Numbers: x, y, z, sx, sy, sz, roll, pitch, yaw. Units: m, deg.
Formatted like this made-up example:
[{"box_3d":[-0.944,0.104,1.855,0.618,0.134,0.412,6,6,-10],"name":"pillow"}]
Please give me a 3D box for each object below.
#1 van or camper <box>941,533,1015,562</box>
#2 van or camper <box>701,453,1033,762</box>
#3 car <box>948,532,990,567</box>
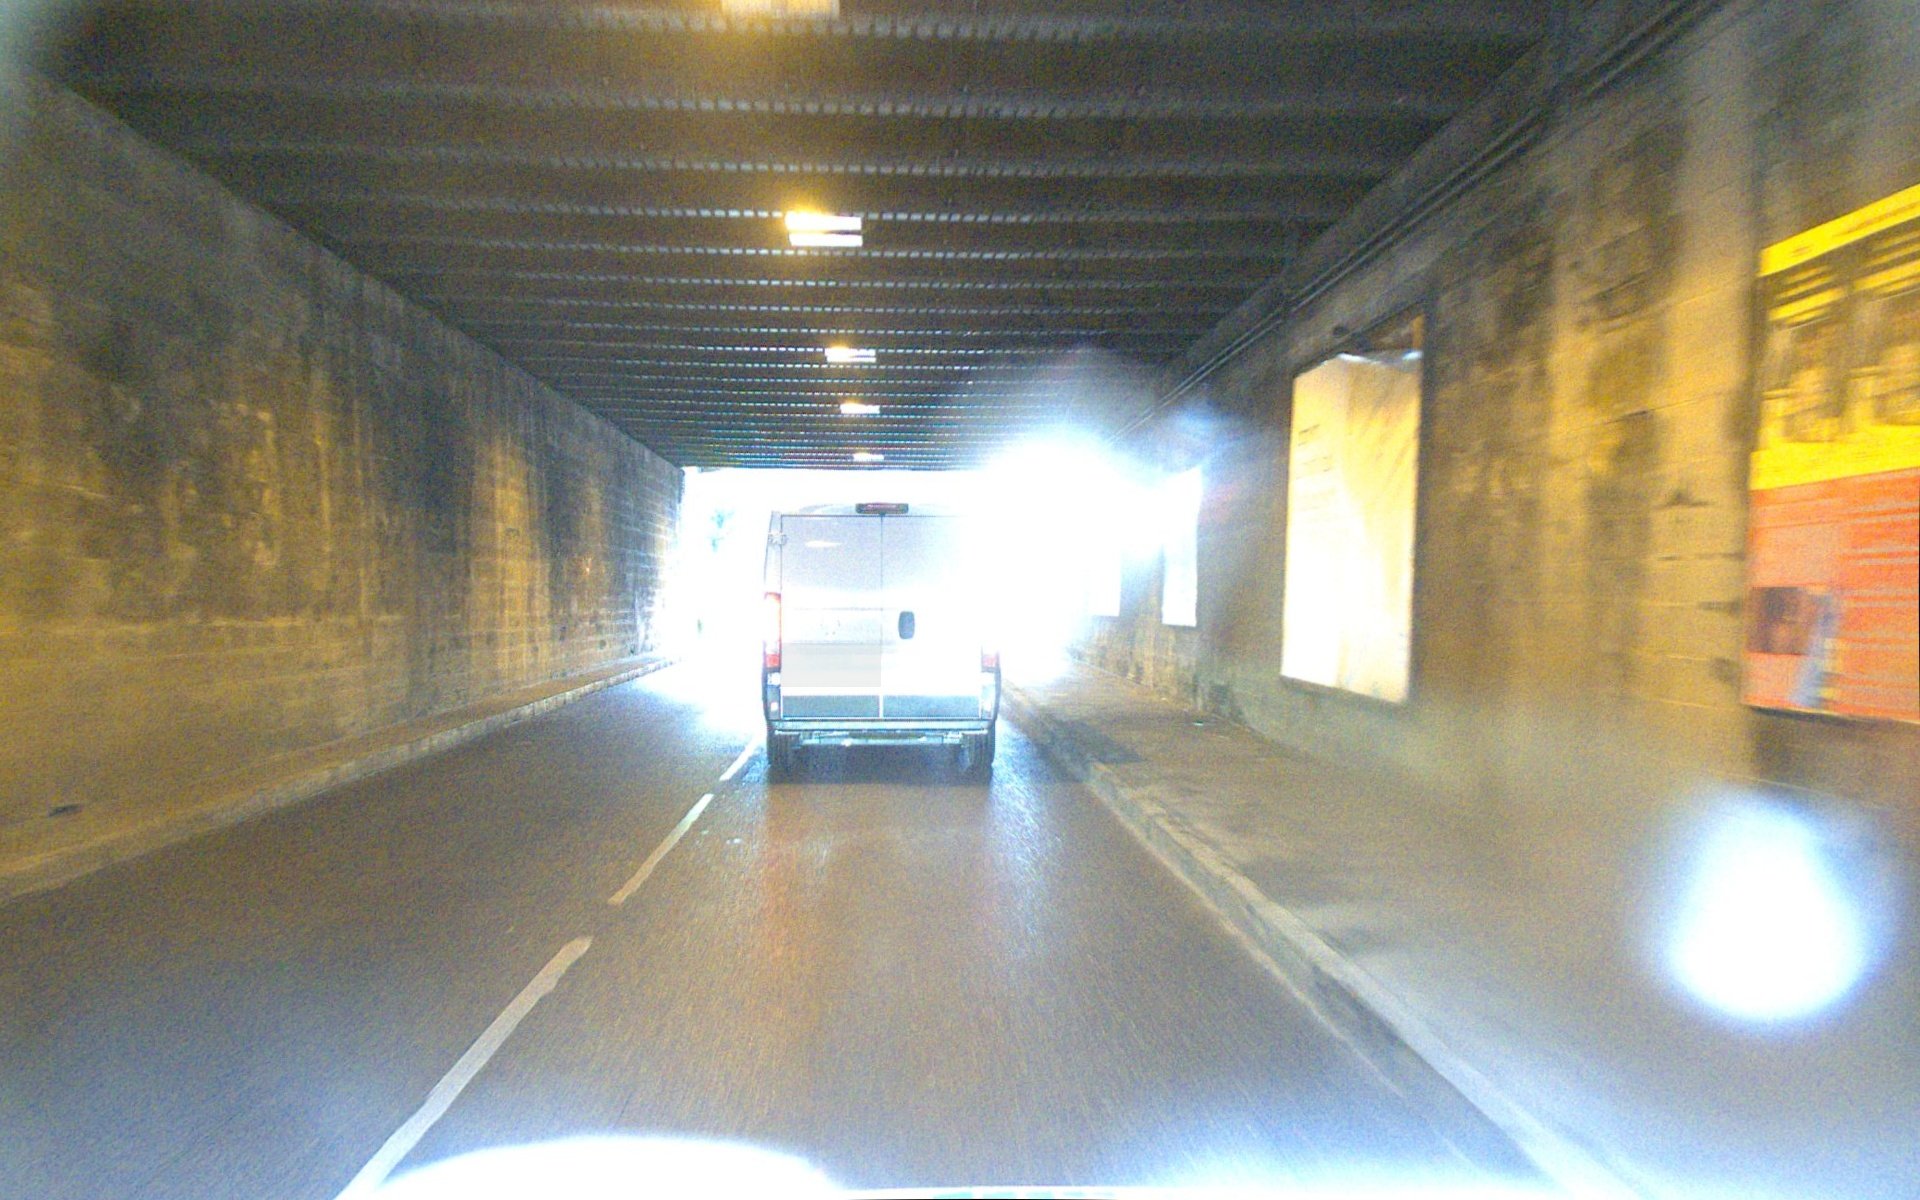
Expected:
[{"box_3d":[1.335,-3.781,118.724,5.197,2.049,2.079,0,1,3],"name":"van or camper"},{"box_3d":[-0.900,0.107,15.692,2.645,2.459,4.899,0,-1,-4],"name":"van or camper"},{"box_3d":[0.509,-3.015,99.470,1.957,1.981,3.992,0,1,-9],"name":"car"}]
